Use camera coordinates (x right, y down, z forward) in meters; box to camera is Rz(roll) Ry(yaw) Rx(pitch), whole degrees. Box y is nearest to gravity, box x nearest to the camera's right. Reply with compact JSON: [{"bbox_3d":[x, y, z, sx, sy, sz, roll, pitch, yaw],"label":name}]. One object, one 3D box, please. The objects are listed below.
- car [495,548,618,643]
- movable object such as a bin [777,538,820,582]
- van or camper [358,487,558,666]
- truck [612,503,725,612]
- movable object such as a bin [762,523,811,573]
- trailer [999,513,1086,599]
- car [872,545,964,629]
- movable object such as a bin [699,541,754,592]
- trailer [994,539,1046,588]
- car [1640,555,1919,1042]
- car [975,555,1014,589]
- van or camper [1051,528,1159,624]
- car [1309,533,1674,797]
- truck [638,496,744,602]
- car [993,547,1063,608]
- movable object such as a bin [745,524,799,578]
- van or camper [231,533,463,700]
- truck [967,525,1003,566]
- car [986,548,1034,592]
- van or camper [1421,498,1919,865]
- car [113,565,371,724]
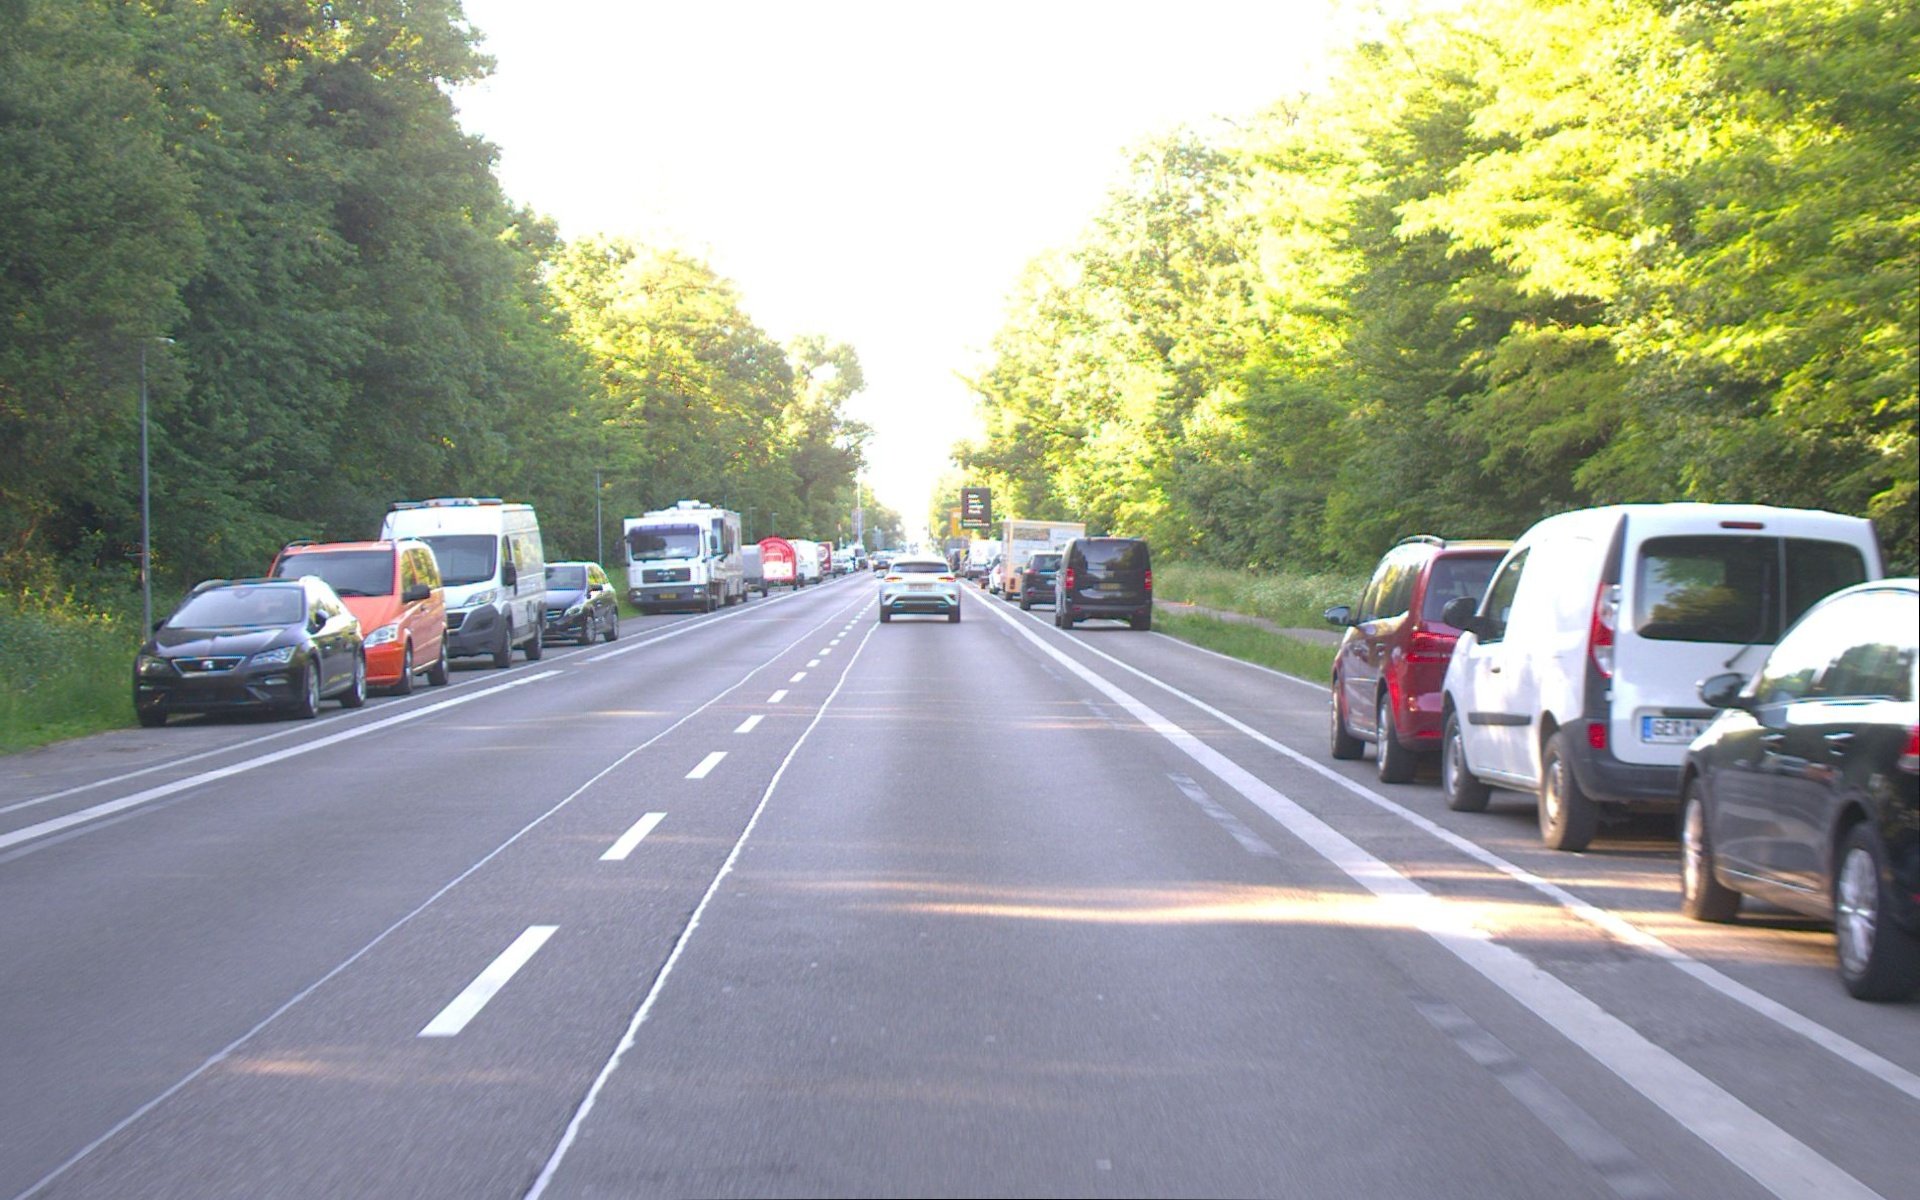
[{"bbox_3d":[-7.591,-0.115,65.069,1.781,1.678,4.378,-2,1,0],"label":"car"},{"bbox_3d":[-9.271,-2.320,197.851,2.322,2.493,4.000,0,1,-1],"label":"movable object such as a bin"},{"bbox_3d":[-7.656,-0.385,53.132,2.121,2.563,6.542,-1,1,0],"label":"van or camper"},{"bbox_3d":[-8.540,-1.258,101.574,2.707,3.083,7.989,0,1,0],"label":"truck"},{"bbox_3d":[-8.809,-2.659,175.246,2.322,2.493,4.000,0,1,-1],"label":"movable object such as a bin"},{"bbox_3d":[2.784,-1.508,117.564,2.757,2.860,6.589,0,1,-1],"label":"trailer"},{"bbox_3d":[-0.934,-0.324,78.214,2.029,1.834,4.029,-1,1,0],"label":"car"},{"bbox_3d":[-9.253,-1.333,136.406,1.953,2.007,4.000,0,1,-1],"label":"movable object such as a bin"},{"bbox_3d":[2.449,-1.483,140.250,1.993,1.963,4.000,0,1,-1],"label":"trailer"},{"bbox_3d":[3.832,0.614,12.872,1.690,1.519,4.149,1,1,0],"label":"car"},{"bbox_3d":[1.535,-1.272,153.594,1.656,1.473,3.754,0,1,-1],"label":"car"},{"bbox_3d":[3.034,-0.527,72.793,1.993,1.925,5.199,1,1,0],"label":"van or camper"},{"bbox_3d":[3.638,0.386,24.274,1.834,1.655,4.338,1,1,0],"label":"car"},{"bbox_3d":[-8.780,-1.673,113.182,2.707,3.336,10.924,0,1,0],"label":"truck"},{"bbox_3d":[1.874,-0.637,95.654,1.841,1.656,4.000,0,1,0],"label":"car"},{"bbox_3d":[-8.770,-2.287,160.765,2.322,2.493,4.000,0,1,-1],"label":"movable object such as a bin"},{"bbox_3d":[-7.440,0.157,42.186,1.923,1.860,4.863,-2,1,0],"label":"van or camper"},{"bbox_3d":[1.495,-3.307,208.563,2.096,2.444,5.680,0,1,-1],"label":"truck"},{"bbox_3d":[1.934,-1.179,133.569,1.732,1.678,4.000,0,1,-1],"label":"car"},{"bbox_3d":[3.894,0.370,19.121,1.951,1.809,4.381,0,1,-2],"label":"van or camper"},{"bbox_3d":[-7.373,0.409,35.687,1.731,1.473,4.324,-2,1,0],"label":"car"}]
